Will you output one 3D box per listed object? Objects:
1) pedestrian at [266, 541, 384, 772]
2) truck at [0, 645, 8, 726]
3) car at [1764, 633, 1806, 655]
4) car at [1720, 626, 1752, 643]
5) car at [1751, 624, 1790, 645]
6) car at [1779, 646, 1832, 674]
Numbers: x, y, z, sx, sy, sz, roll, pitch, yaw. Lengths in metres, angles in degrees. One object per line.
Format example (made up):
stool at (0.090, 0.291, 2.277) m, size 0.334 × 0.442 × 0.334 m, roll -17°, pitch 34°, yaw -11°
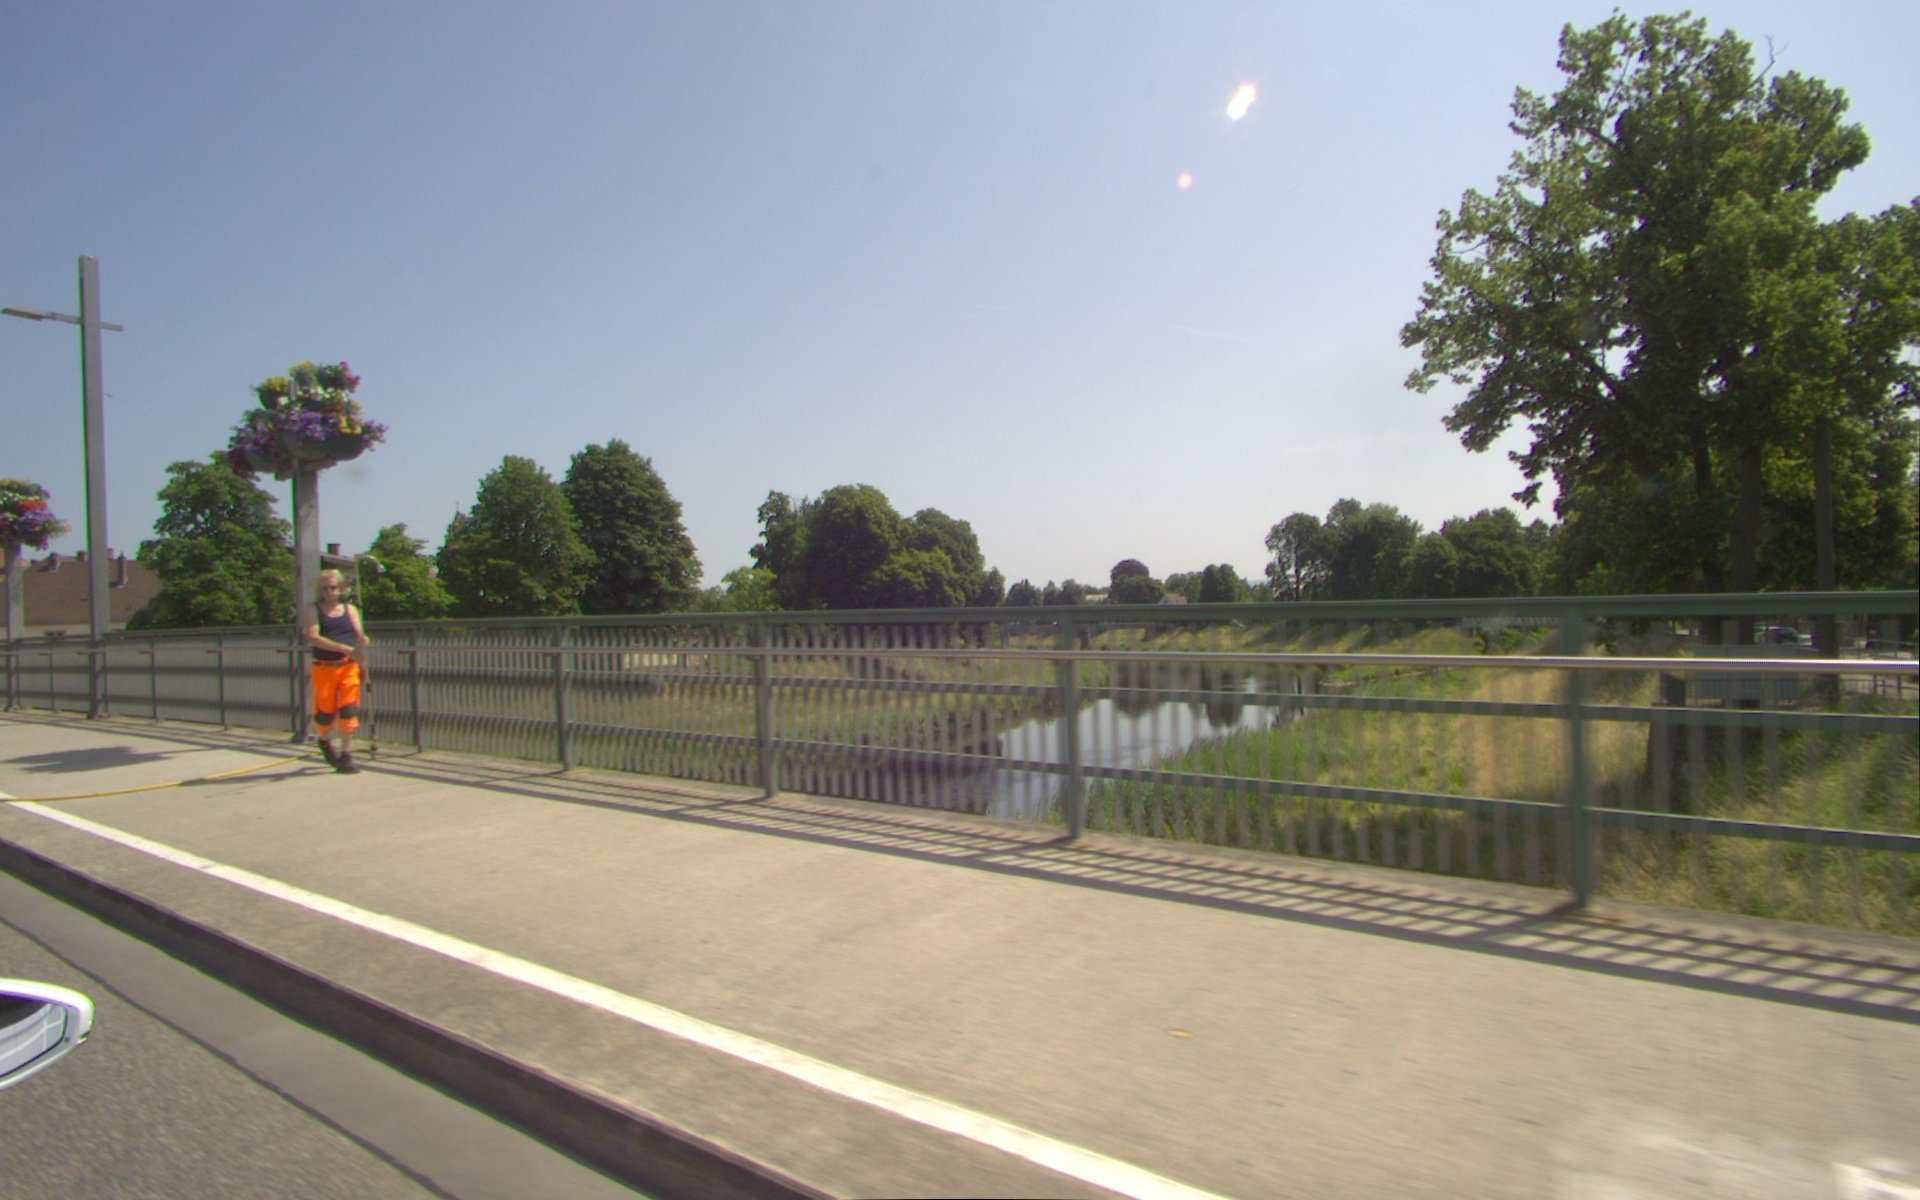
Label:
pedestrian at (-5.710, 0.500, 9.027) m, size 0.660 × 1.985 × 0.548 m, roll -2°, pitch -1°, yaw -4°
truck at (-15.285, 0.422, 13.334) m, size 5.747 × 2.728 × 2.596 m, roll -2°, pitch 2°, yaw 36°
car at (62.707, 3.353, 76.136) m, size 1.801 × 1.571 × 3.983 m, roll -1°, pitch -3°, yaw 30°
car at (72.448, 3.249, 93.551) m, size 1.801 × 1.571 × 3.984 m, roll -1°, pitch -3°, yaw 30°
car at (65.094, 2.792, 80.468) m, size 1.801 × 1.571 × 4.115 m, roll -1°, pitch -3°, yaw 30°
car at (49.806, 3.507, 59.060) m, size 1.565 × 1.571 × 3.736 m, roll -1°, pitch -3°, yaw 28°
